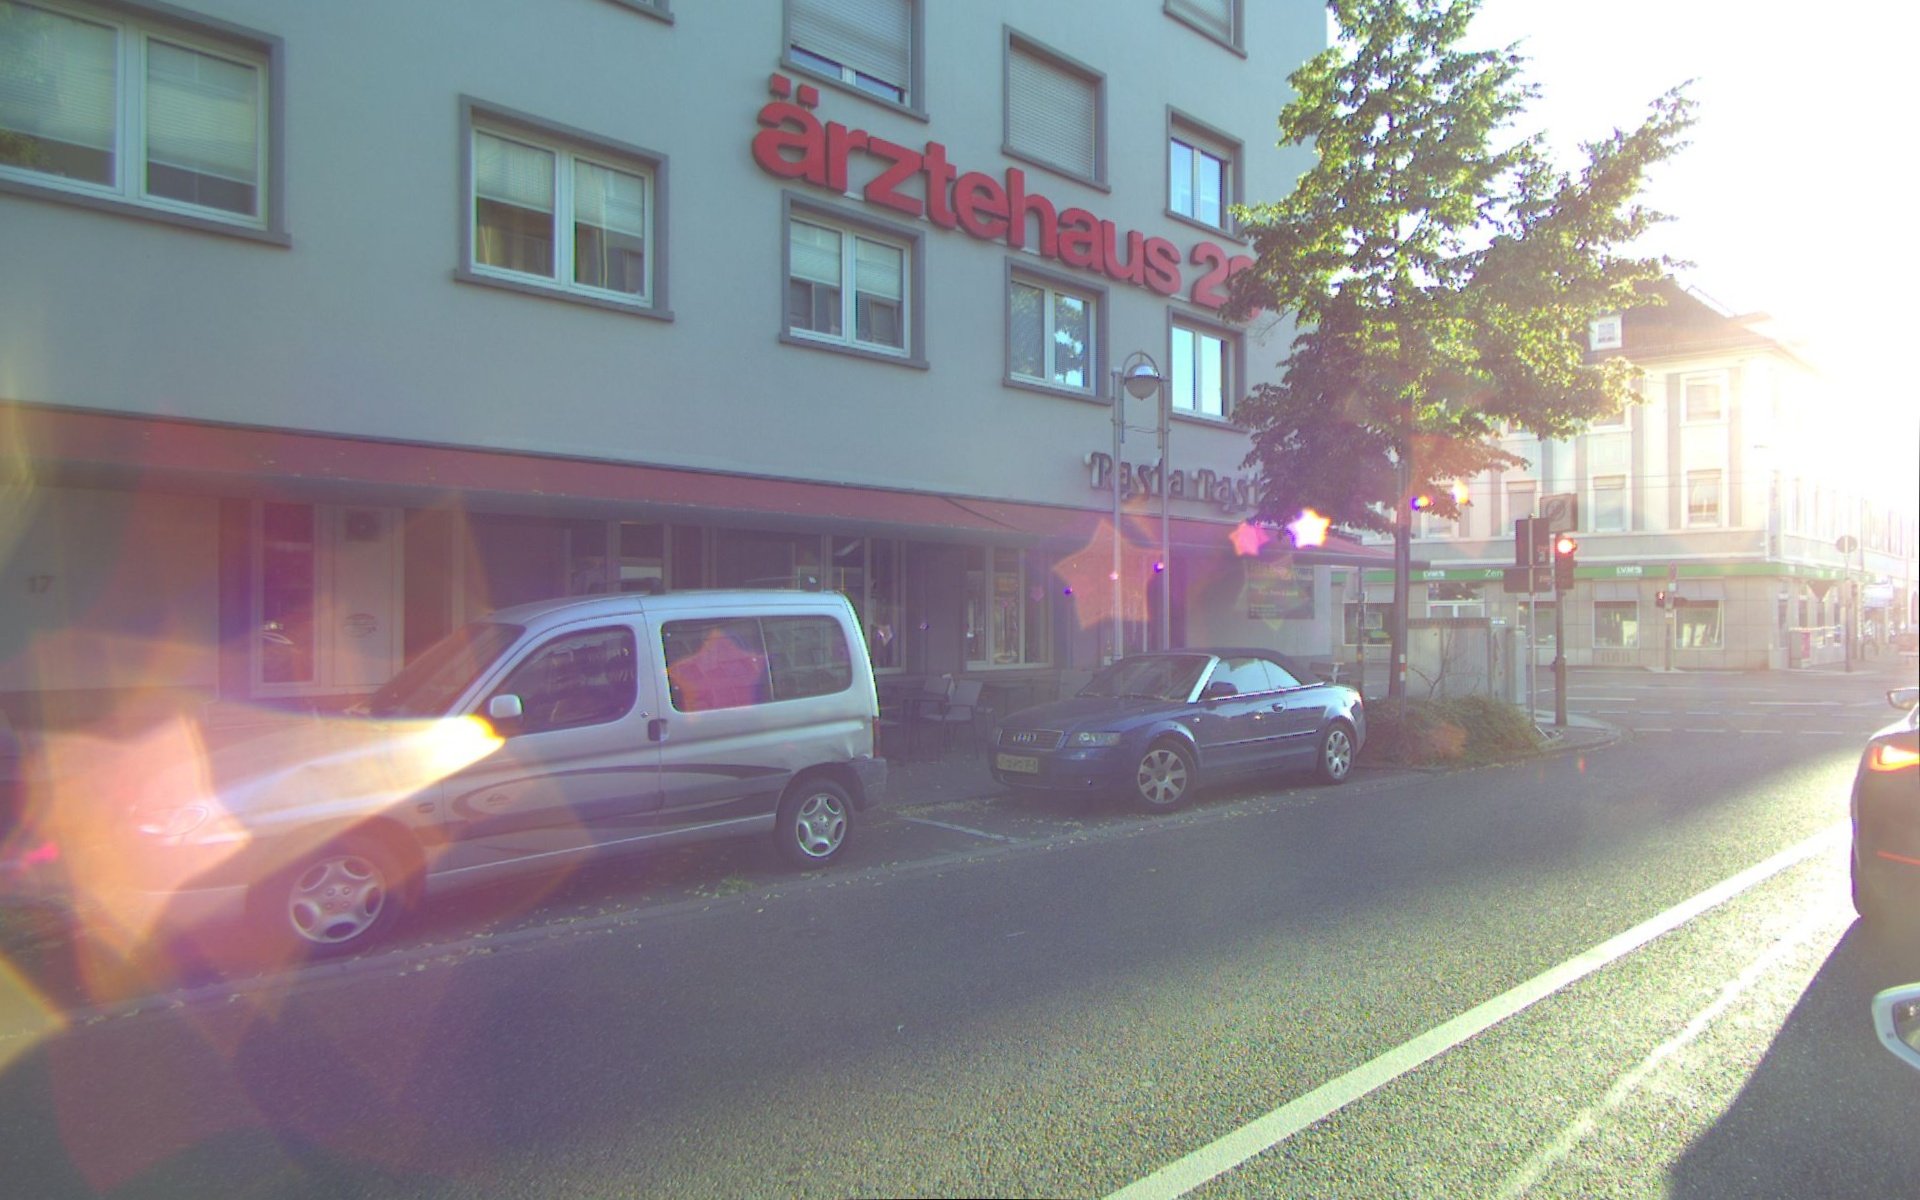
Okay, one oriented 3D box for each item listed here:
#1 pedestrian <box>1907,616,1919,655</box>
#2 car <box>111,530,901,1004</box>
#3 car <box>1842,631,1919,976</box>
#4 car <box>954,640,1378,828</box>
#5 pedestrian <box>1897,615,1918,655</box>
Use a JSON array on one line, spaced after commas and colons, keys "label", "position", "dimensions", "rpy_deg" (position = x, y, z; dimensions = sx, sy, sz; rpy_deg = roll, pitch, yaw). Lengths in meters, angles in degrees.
[{"label": "pedestrian", "position": [47.315, 1.738, 49.704], "dimensions": [0.673, 1.901, 0.610], "rpy_deg": [1, 0, -42]}, {"label": "car", "position": [-2.447, 0.758, 6.035], "dimensions": [4.022, 1.912, 1.655], "rpy_deg": [2, -4, -41]}, {"label": "car", "position": [6.066, 0.903, 5.112], "dimensions": [4.188, 1.447, 1.723], "rpy_deg": [1, -1, -39]}, {"label": "car", "position": [2.123, 1.121, 9.700], "dimensions": [4.244, 1.434, 1.710], "rpy_deg": [2, -4, -39]}, {"label": "pedestrian", "position": [46.522, 1.720, 49.322], "dimensions": [0.626, 1.901, 0.638], "rpy_deg": [1, 0, -38]}]
